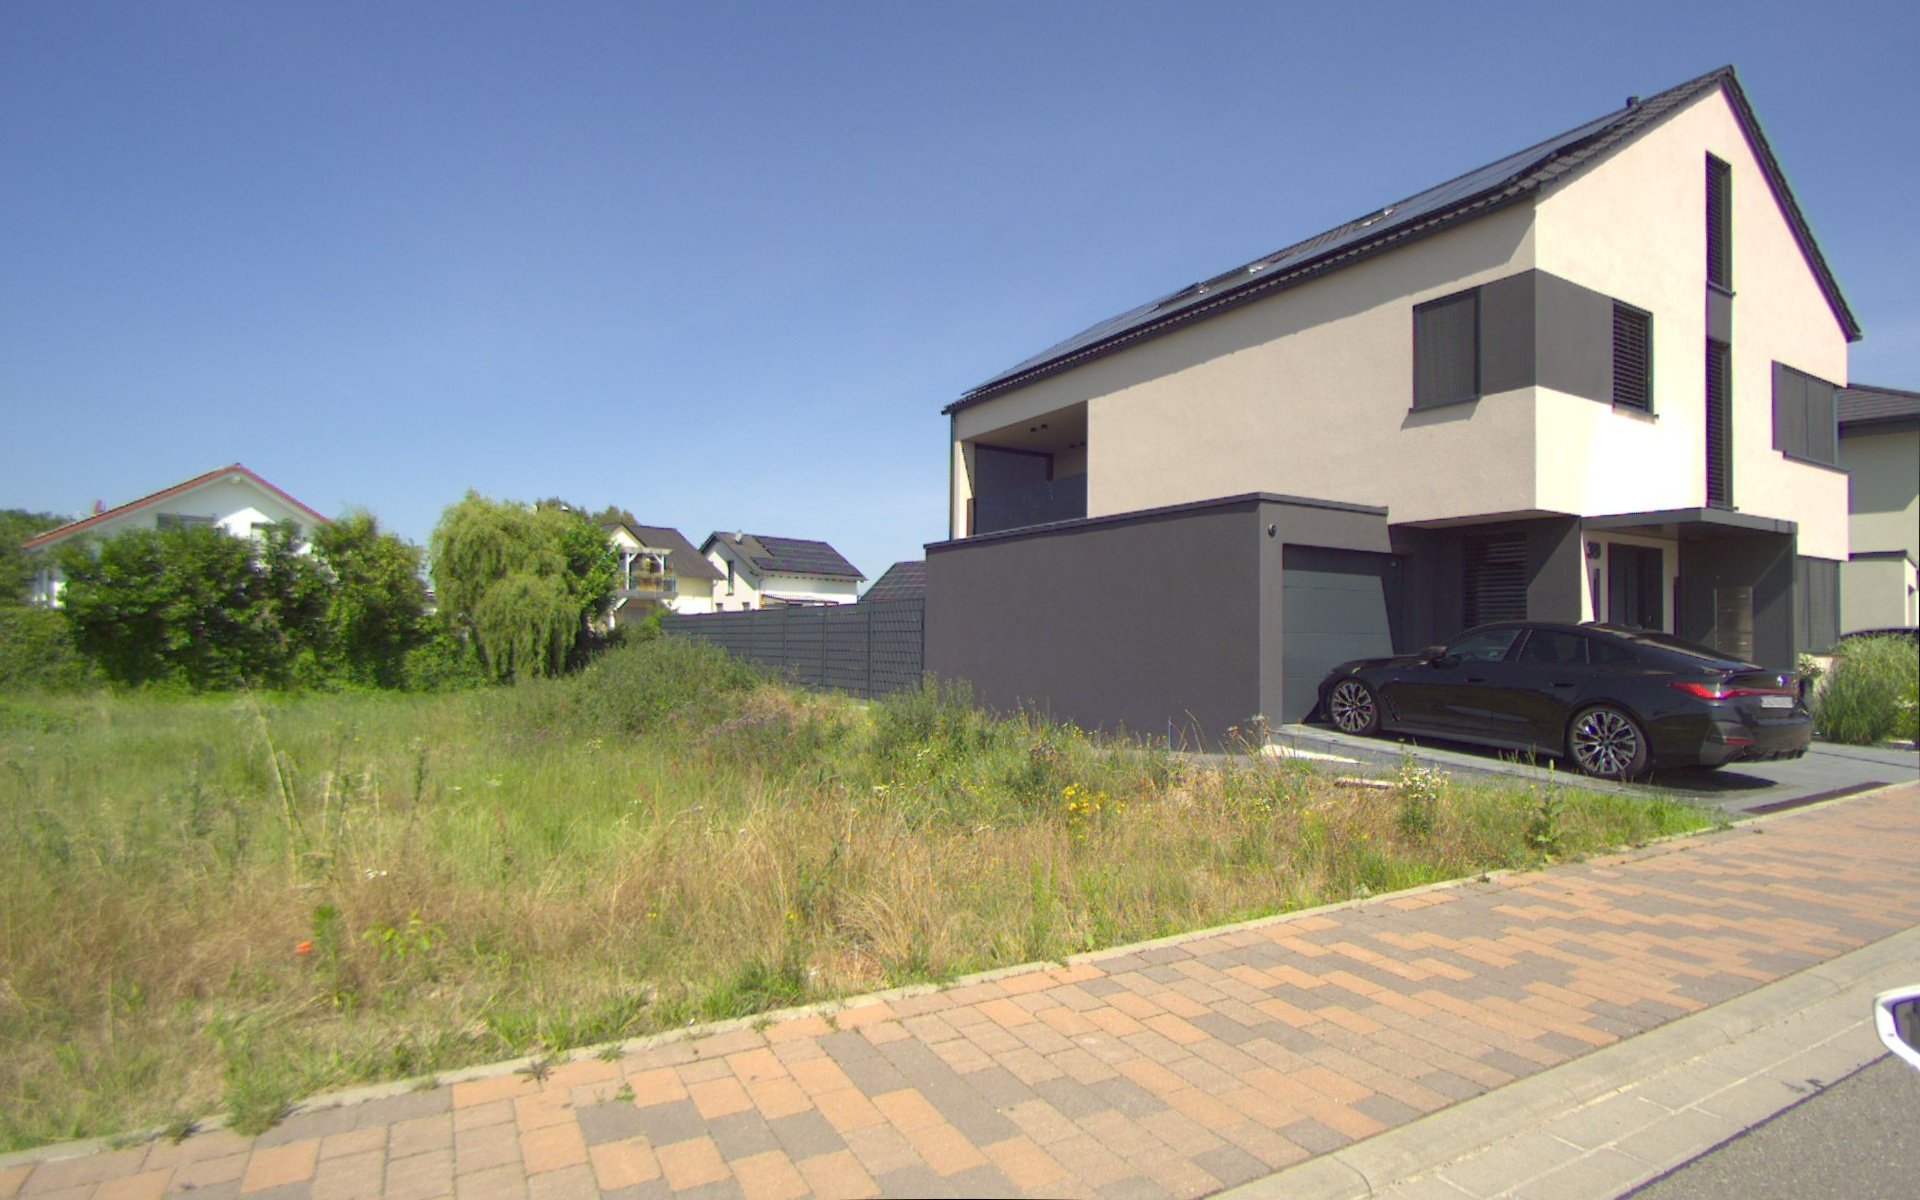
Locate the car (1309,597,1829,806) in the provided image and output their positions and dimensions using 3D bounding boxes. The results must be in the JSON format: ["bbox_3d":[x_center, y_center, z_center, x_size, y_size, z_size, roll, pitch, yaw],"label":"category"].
[{"bbox_3d":[6.035,0.854,10.568,1.750,1.653,4.354,2,0,-30],"label":"car"}]

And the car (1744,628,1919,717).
[{"bbox_3d":[16.773,1.265,17.980,1.733,1.506,3.971,1,-2,-28],"label":"car"}]
